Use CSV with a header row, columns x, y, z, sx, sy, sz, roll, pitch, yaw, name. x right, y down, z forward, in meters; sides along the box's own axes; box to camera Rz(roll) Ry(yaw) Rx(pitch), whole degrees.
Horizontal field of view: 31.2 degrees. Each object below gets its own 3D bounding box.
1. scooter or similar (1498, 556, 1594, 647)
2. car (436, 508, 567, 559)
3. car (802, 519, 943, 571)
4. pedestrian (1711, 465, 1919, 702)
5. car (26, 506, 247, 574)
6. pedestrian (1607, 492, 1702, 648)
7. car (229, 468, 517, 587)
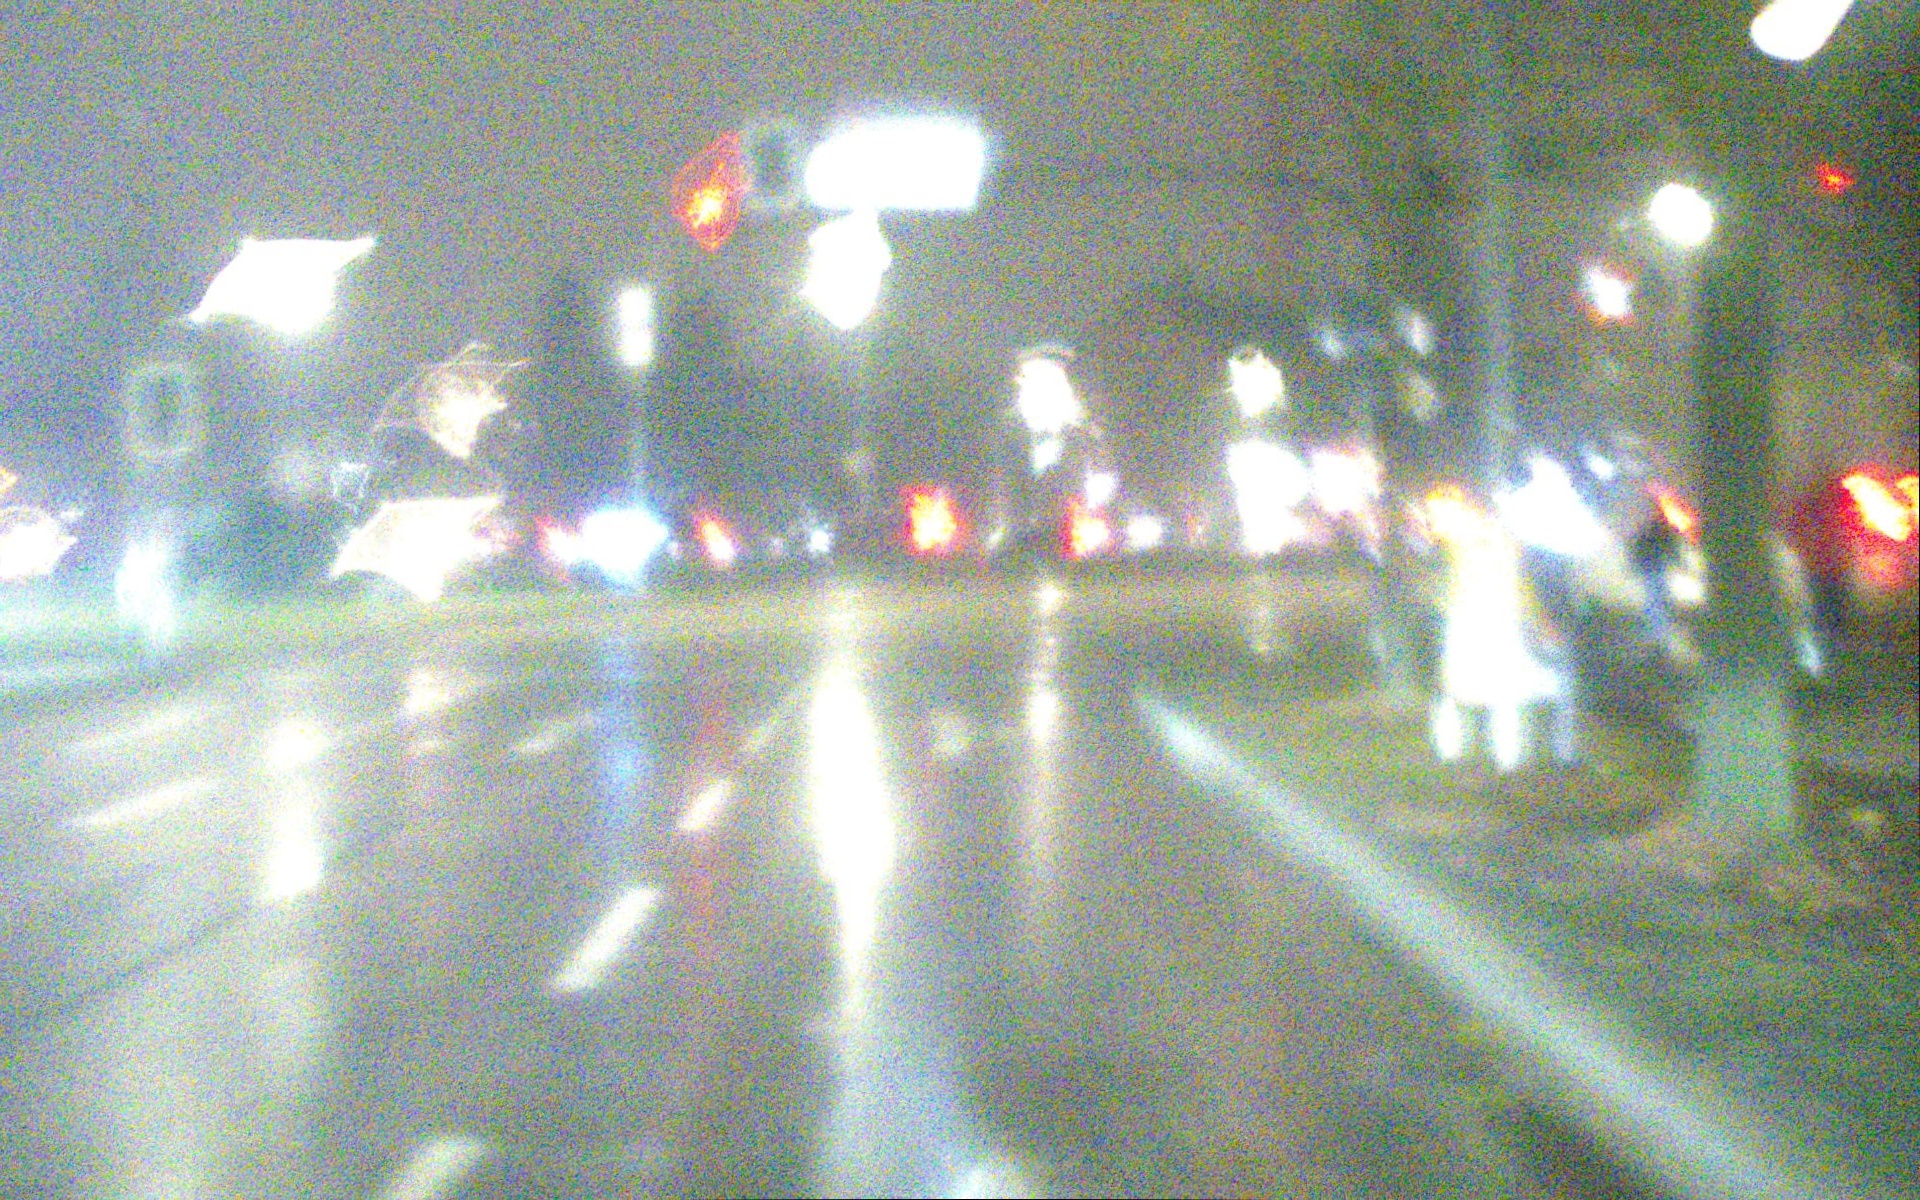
x,y,z,sx,sy,sz,roll,pitch,yaw,name
7.212,0.018,42.316,1.102,1.094,0.317,-2,0,28,scooter or similar
-14.468,-2.101,108.552,3.951,1.573,1.737,0,1,-2,car
-2.736,-1.730,107.105,3.992,1.610,1.834,1,1,26,car
6.626,-0.143,26.734,1.227,1.787,1.490,0,1,-1,pedestrian
-25.574,-1.882,106.736,6.292,2.082,2.516,-1,1,-25,car
6.679,-0.293,33.094,0.726,1.480,0.836,0,1,-1,pedestrian
-10.015,-1.240,58.877,4.543,2.007,2.000,0,1,3,car
